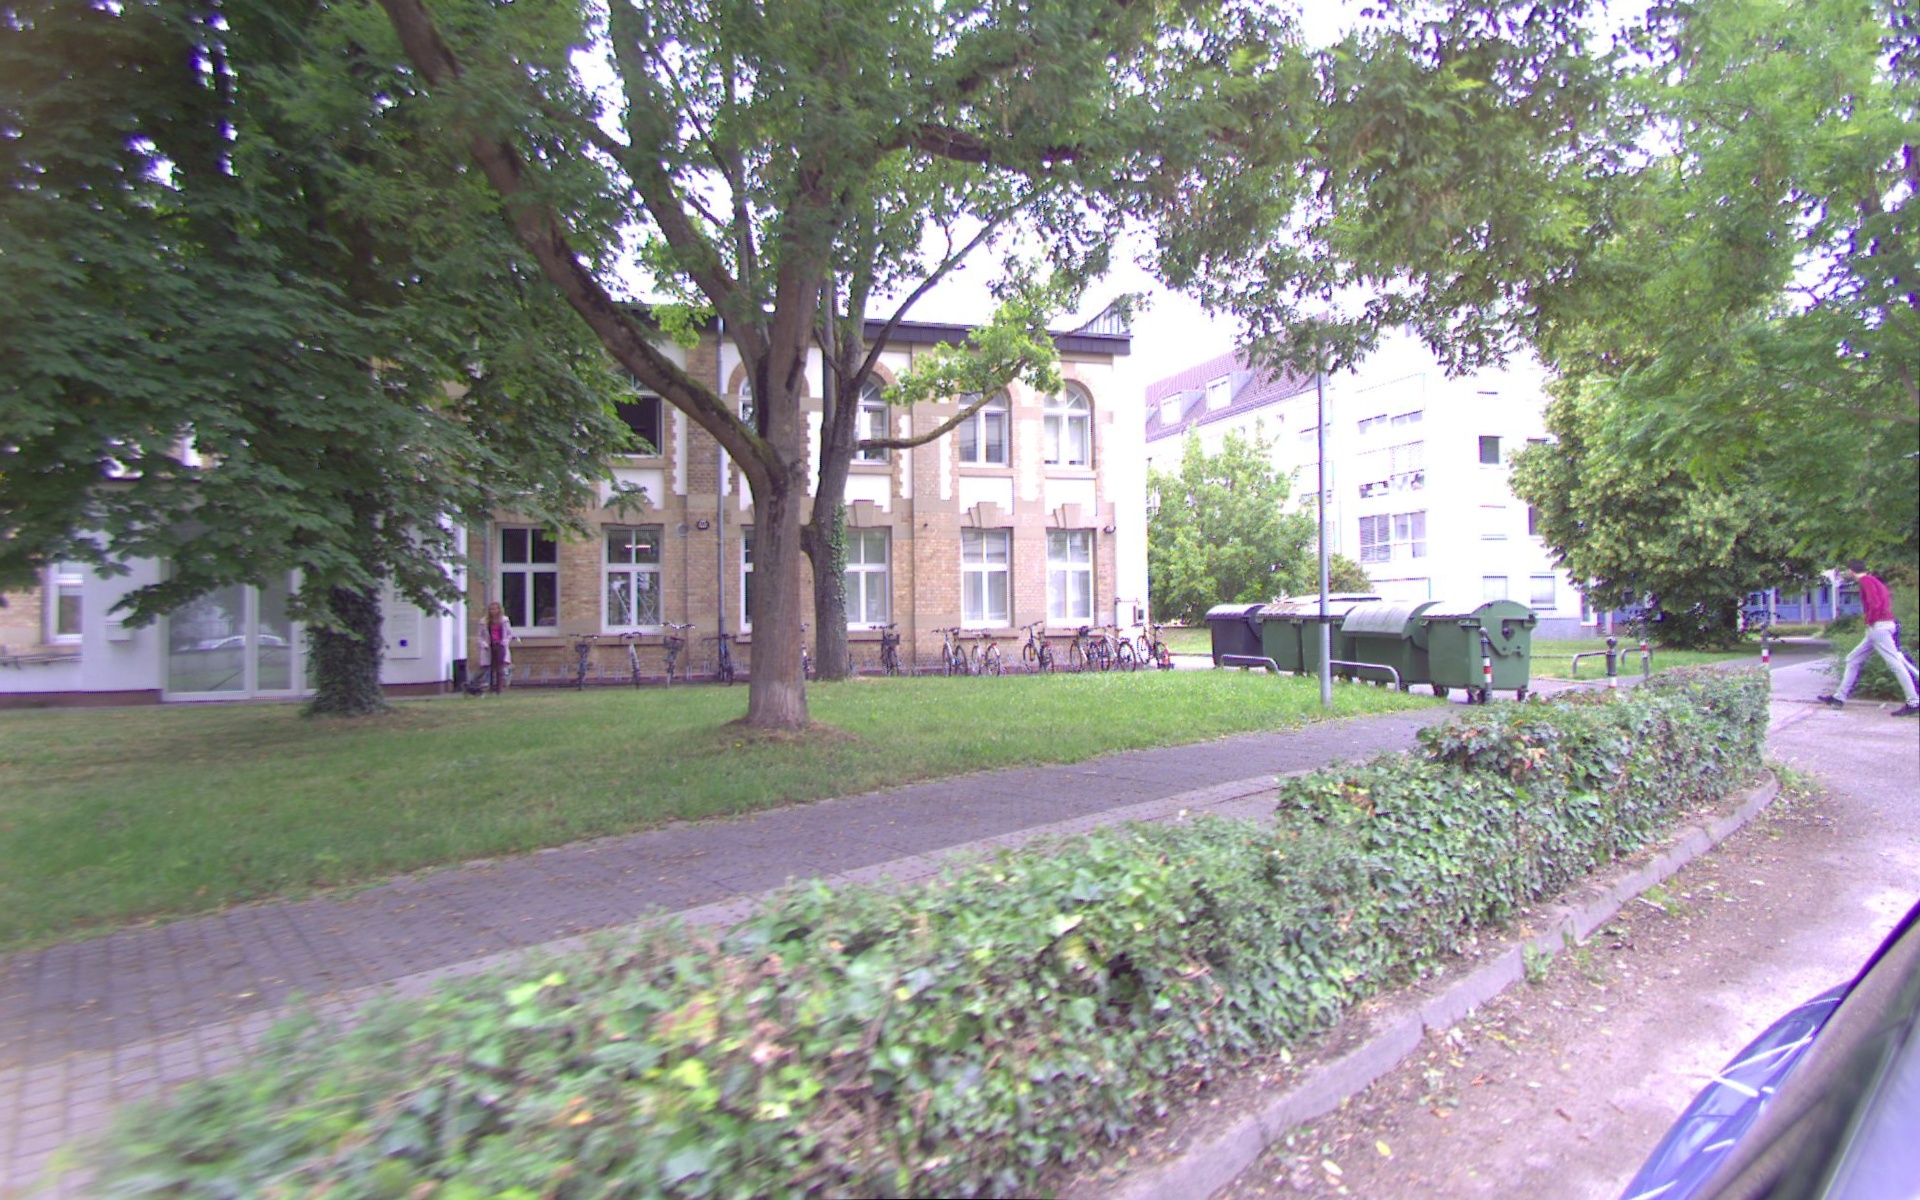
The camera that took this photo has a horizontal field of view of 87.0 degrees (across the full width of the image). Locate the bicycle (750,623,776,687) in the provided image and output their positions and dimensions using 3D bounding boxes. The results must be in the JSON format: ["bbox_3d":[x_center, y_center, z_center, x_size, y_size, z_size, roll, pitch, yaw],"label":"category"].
[{"bbox_3d":[-3.959,1.076,20.263,0.451,1.128,1.748,0,2,-13],"label":"bicycle"}]

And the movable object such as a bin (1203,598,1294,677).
[{"bbox_3d":[5.660,0.718,19.936,1.085,1.469,1.365,-1,-1,-20],"label":"movable object such as a bin"}]

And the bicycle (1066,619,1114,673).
[{"bbox_3d":[2.831,0.991,22.255,0.451,1.129,1.747,0,-1,-13],"label":"bicycle"}]

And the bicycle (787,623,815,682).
[{"bbox_3d":[-3.242,1.046,20.563,0.451,1.129,1.747,0,-1,-13],"label":"bicycle"}]

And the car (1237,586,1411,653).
[{"bbox_3d":[11.149,0.615,31.129,4.673,1.898,1.904,-1,-3,-13],"label":"car"}]

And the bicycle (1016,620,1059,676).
[{"bbox_3d":[1.661,1.013,21.864,0.451,1.129,1.747,-1,-1,-11],"label":"bicycle"}]

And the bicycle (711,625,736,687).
[{"bbox_3d":[-4.711,1.093,20.169,0.451,1.129,1.748,0,0,-13],"label":"bicycle"}]

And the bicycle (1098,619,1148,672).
[{"bbox_3d":[3.605,0.981,22.455,0.451,1.129,1.747,0,-1,-13],"label":"bicycle"}]

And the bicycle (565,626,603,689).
[{"bbox_3d":[-7.231,1.085,19.514,0.451,1.129,1.747,0,-1,-13],"label":"bicycle"}]

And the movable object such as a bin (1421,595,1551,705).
[{"bbox_3d":[7.343,0.673,14.205,1.050,1.452,1.276,-1,-1,-6],"label":"movable object such as a bin"}]

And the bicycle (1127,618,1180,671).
[{"bbox_3d":[4.317,0.965,22.678,0.451,1.129,1.748,0,-1,-14],"label":"bicycle"}]

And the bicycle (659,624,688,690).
[{"bbox_3d":[-5.623,1.097,19.925,0.451,1.128,1.748,0,2,-13],"label":"bicycle"}]

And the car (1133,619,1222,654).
[{"bbox_3d":[11.717,1.919,54.480,4.250,1.757,2.003,0,-1,-21],"label":"car"}]

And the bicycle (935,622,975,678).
[{"bbox_3d":[-0.120,1.042,21.501,0.451,1.129,1.747,0,-1,-13],"label":"bicycle"}]

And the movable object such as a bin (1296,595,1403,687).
[{"bbox_3d":[6.556,0.677,17.112,1.085,1.469,1.297,-1,-1,-16],"label":"movable object such as a bin"}]

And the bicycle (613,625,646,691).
[{"bbox_3d":[-6.421,1.100,19.715,0.451,1.128,1.748,0,1,-13],"label":"bicycle"}]

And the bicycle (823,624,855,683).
[{"bbox_3d":[-2.479,1.058,20.610,0.451,1.129,1.747,0,-1,-13],"label":"bicycle"}]

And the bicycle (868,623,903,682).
[{"bbox_3d":[-1.565,1.064,21.006,0.451,1.129,1.748,0,0,-13],"label":"bicycle"}]

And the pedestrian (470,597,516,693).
[{"bbox_3d":[-8.001,0.761,17.346,0.614,1.607,0.605,-1,-1,-15],"label":"pedestrian"}]

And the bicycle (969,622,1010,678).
[{"bbox_3d":[0.613,1.038,21.680,0.451,1.129,1.747,0,-1,-13],"label":"bicycle"}]

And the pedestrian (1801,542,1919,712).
[{"bbox_3d":[11.647,0.328,12.973,1.176,2.091,0.796,0,-1,-19],"label":"pedestrian"}]

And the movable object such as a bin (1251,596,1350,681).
[{"bbox_3d":[6.206,0.686,18.502,1.086,1.469,1.329,-1,-1,-21],"label":"movable object such as a bin"}]

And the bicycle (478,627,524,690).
[{"bbox_3d":[-8.786,1.092,19.415,0.451,1.129,1.747,0,-1,-13],"label":"bicycle"}]

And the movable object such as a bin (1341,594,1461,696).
[{"bbox_3d":[6.782,0.671,15.617,1.085,1.469,1.288,-1,-1,-16],"label":"movable object such as a bin"}]
